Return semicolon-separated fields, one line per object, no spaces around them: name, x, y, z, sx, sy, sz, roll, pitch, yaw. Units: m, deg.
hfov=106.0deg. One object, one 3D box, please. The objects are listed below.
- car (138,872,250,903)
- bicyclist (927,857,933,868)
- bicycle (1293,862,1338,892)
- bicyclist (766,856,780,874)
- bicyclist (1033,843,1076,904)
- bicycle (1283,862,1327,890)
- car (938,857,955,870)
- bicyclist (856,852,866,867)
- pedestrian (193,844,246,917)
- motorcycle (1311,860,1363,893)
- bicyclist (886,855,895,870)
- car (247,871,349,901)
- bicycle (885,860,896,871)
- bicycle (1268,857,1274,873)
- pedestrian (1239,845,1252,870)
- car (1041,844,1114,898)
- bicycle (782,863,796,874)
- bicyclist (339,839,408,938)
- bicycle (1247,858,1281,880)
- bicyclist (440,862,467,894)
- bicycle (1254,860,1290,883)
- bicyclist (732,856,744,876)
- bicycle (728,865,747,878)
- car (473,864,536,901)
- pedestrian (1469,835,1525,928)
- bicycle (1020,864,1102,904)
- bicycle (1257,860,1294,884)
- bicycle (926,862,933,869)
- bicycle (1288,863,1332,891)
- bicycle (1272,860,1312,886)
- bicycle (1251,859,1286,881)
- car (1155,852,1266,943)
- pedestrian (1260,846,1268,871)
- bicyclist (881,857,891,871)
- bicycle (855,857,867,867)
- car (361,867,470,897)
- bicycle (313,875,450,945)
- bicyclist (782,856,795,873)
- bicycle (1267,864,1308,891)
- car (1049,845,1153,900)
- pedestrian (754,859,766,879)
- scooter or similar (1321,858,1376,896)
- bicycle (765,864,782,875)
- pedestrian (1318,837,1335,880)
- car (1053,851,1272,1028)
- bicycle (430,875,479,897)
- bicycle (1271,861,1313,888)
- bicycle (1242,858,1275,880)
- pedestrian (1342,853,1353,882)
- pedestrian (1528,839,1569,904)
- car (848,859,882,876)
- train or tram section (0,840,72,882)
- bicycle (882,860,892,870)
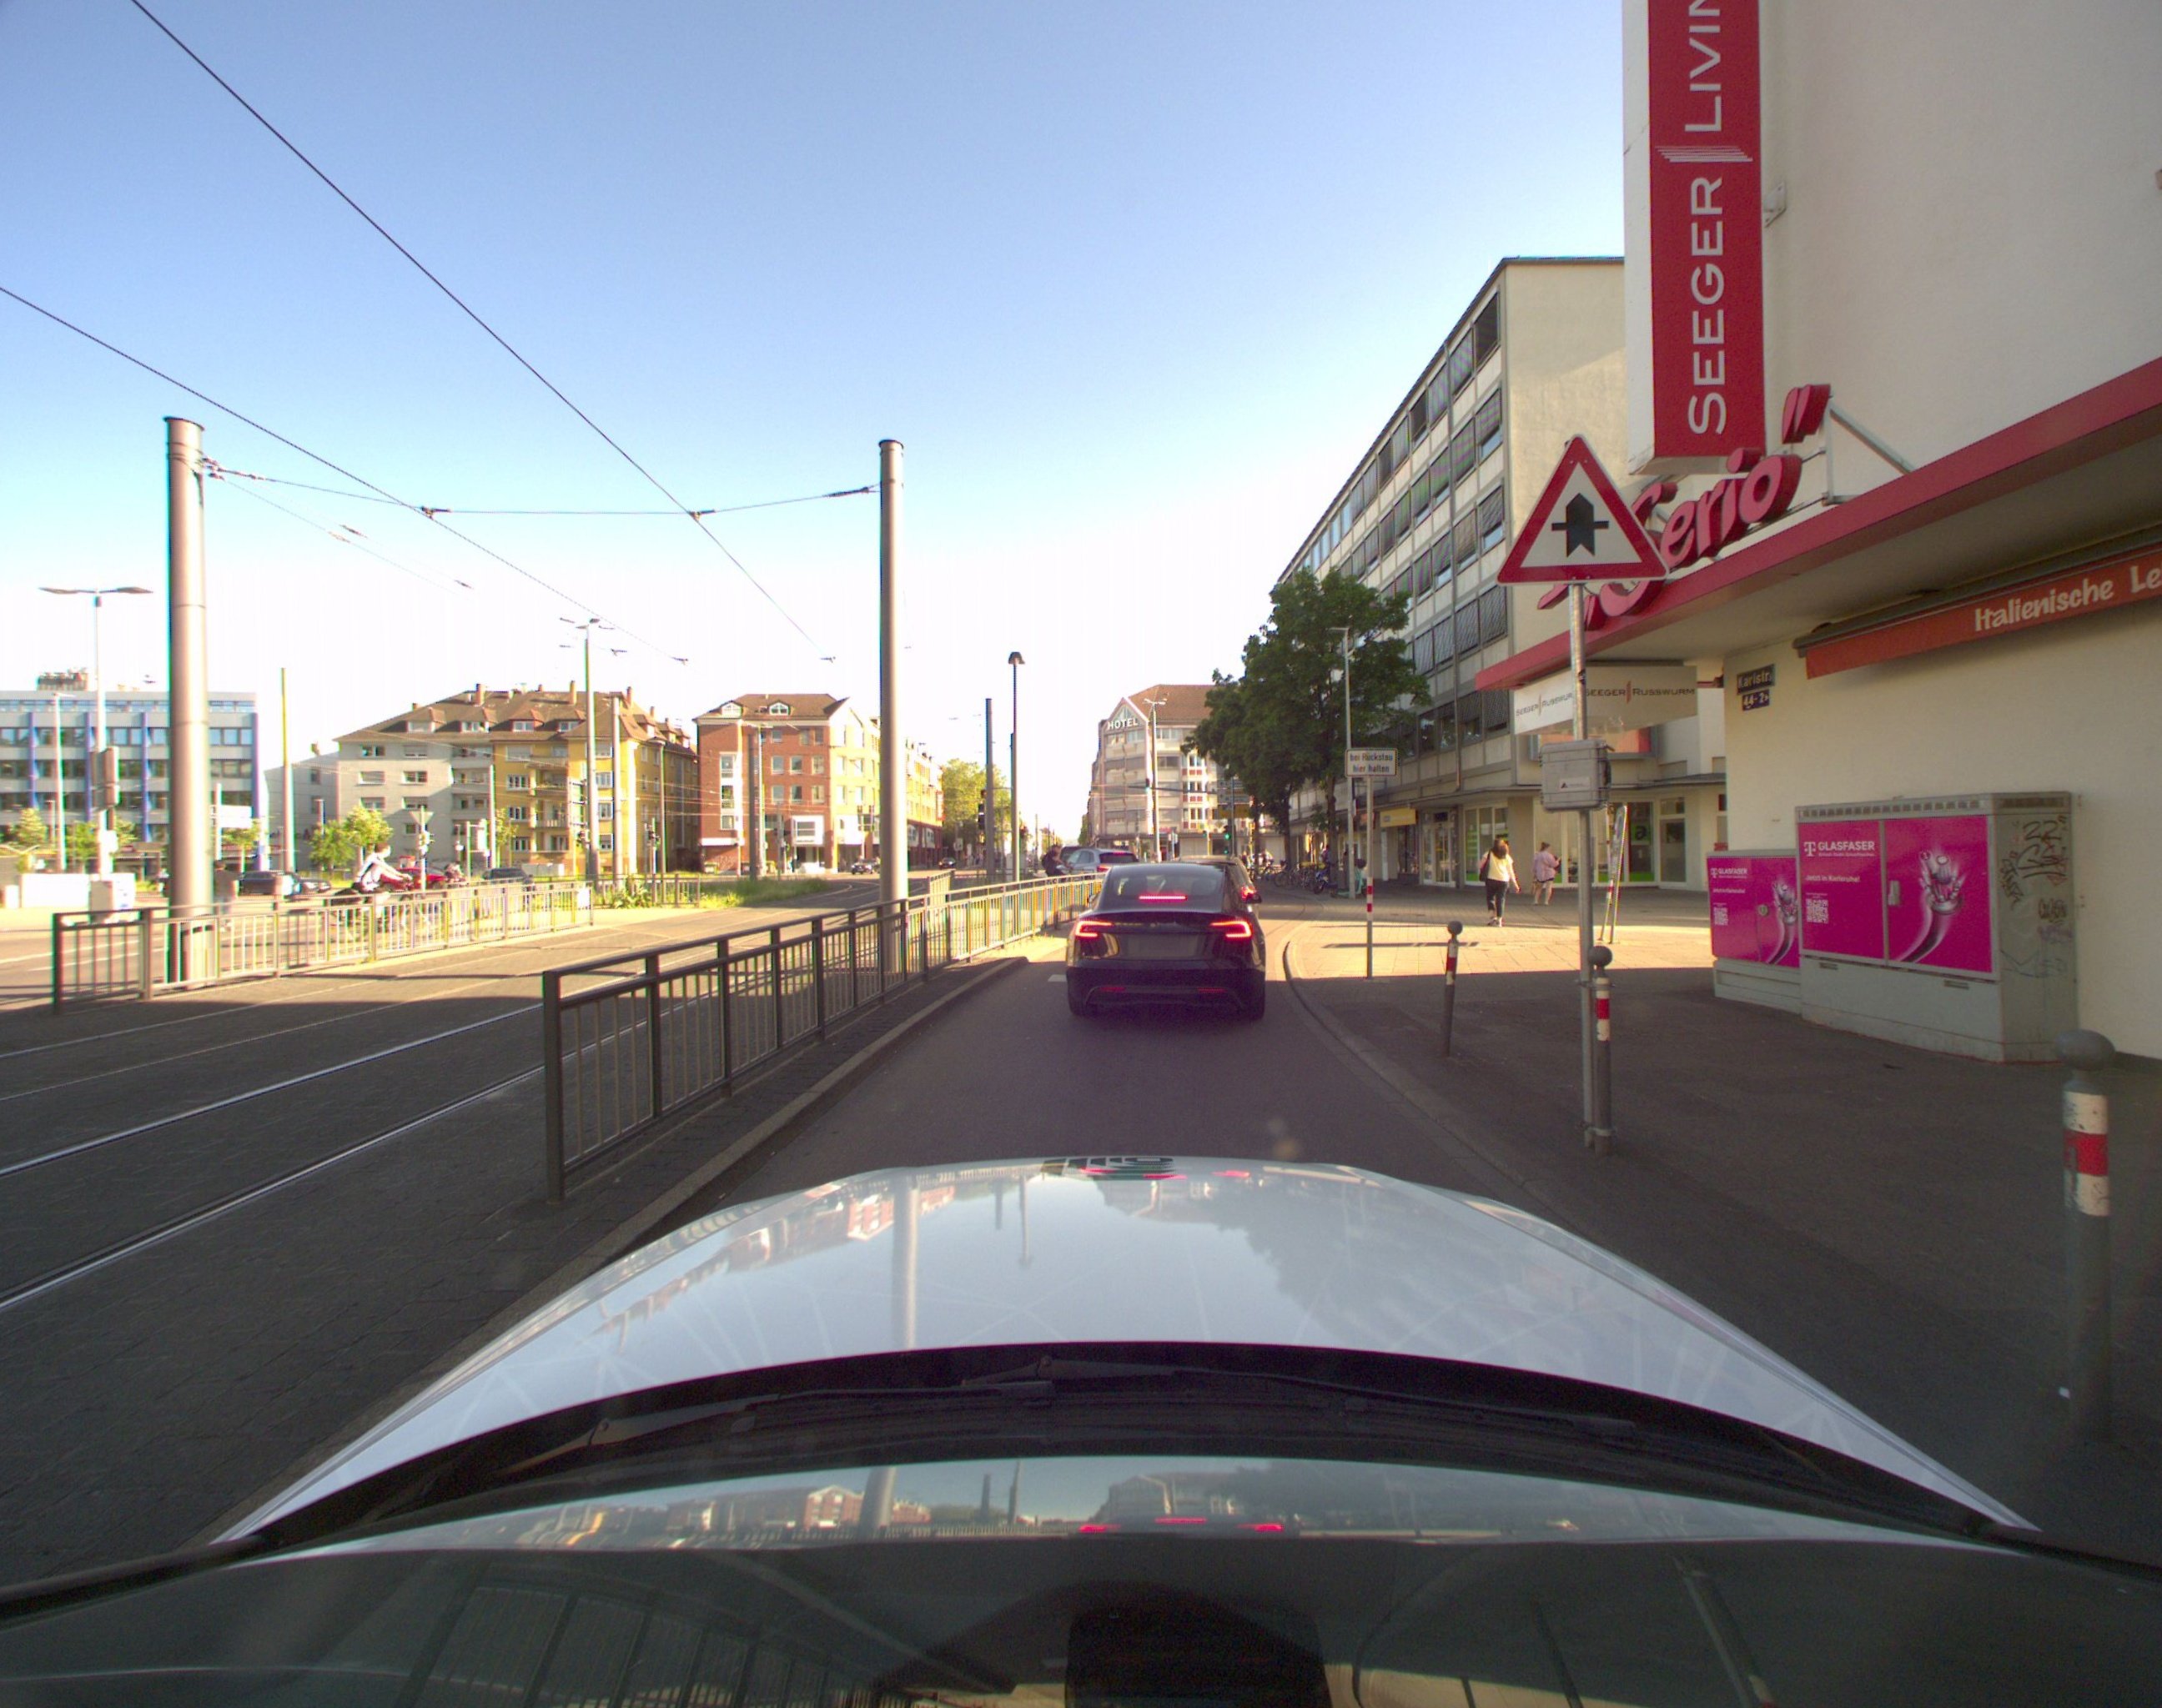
car;-50.619;1.877;46.572;3.952;1.685;1.903;0;-1;-11
bicyclist;-22.037;1.237;118.779;0.780;1.563;0.747;0;-1;3
bicycle;8.900;0.859;30.956;1.649;1.099;0.349;0;-1;-9
bicyclist;-25.893;0.899;68.565;0.895;1.503;0.696;0;-1;1
bicyclist;-0.727;0.525;22.393;0.763;1.628;0.967;0;-1;-37
bicycle;8.736;0.858;31.806;1.649;1.099;0.349;0;-1;-9
car;-17.542;1.234;106.218;1.692;1.731;3.706;0;-1;0
bicyclist;-22.840;0.570;84.408;0.780;1.563;0.747;0;-1;3
pedestrian;-20.312;0.618;19.209;0.585;1.681;0.779;-1;-1;37
motorcycle;9.150;0.786;29.186;1.701;1.173;0.541;0;-1;0
bicyclist;-19.666;0.904;84.168;0.781;1.527;0.590;0;-1;6
car;-45.490;1.838;47.390;3.984;1.672;1.772;0;-1;-8
bicycle;-19.667;1.198;84.122;0.456;1.093;2.205;0;-1;6
bicycle;12.742;0.724;54.681;0.330;1.034;1.260;-1;-1;11
pedestrian;11.126;0.231;55.111;0.697;1.662;0.777;0;-1;1
car;-0.210;0.664;32.781;1.997;2.014;3.980;-1;0;-15
bicycle;-26.854;1.357;74.957;0.402;0.981;1.699;-1;-1;10
bicyclist;-13.039;0.617;15.035;0.754;1.759;0.752;0;-1;-24
bicycle;9.267;0.760;41.315;1.643;1.099;0.350;-1;0;3
bicyclist;-35.472;1.339;46.051;0.901;1.808;0.788;0;-1;-11
bicycle;9.209;0.840;39.255;1.643;1.099;0.350;0;-1;3
bicyclist;-25.998;0.917;61.759;0.631;1.503;0.696;0;-1;1
bicycle;-25.990;1.327;61.657;0.445;0.972;2.247;0;-1;2
car;-25.870;1.238;36.659;1.648;1.526;3.833;0;-1;-25
pedestrian;8.157;0.515;16.015;0.906;1.752;1.044;-1;0;25
bicycle;-0.535;0.816;22.582;2.346;1.053;0.624;0;-1;-36
bicycle;9.145;0.836;38.229;1.643;1.099;0.350;0;-1;3
bicycle;-22.040;1.664;118.652;0.527;1.088;2.227;0;-1;4
bicycle;8.822;0.876;31.379;1.649;1.061;0.349;0;-1;-9
bicycle;9.123;0.817;35.275;1.643;1.099;0.350;0;-1;3
bicycle;9.285;0.797;40.268;1.643;1.099;0.350;0;-1;3
car;2.369;0.696;15.096;1.741;1.454;4.009;-1;0;8
pedestrian;12.395;0.321;55.207;0.522;1.710;0.405;-1;-1;16
bicyclist;-22.139;1.168;92.459;0.780;1.563;0.747;-1;0;3
bicycle;-22.793;0.828;84.430;0.535;1.088;2.227;0;-1;4
car;-39.453;1.653;48.386;4.585;1.700;1.993;0;-1;-10
bicycle;-12.922;1.013;15.099;1.857;1.222;0.482;0;-1;-23
bicyclist;-26.880;0.965;74.951;0.699;1.471;0.975;-1;0;9
bicycle;8.701;0.991;34.298;1.649;1.099;0.349;0;-1;-9
car;0.547;0.571;26.660;1.891;1.662;4.126;0;-1;-23
pedestrian;-29.057;1.342;73.691;0.780;1.820;0.747;0;-1;3
scooter or similar;8.904;0.763;27.116;1.625;1.215;0.649;-1;-1;32
bicycle;-25.864;1.294;68.583;0.522;0.972;2.247;0;-1;2
pedestrian;11.746;0.224;38.959;0.659;2.014;0.580;0;-1;4
car;0.910;0.727;8.812;1.820;1.455;4.007;0;-1;7
bicycle;-35.426;1.819;46.061;2.188;1.214;0.544;0;-1;-11
bicycle;8.622;0.846;33.337;1.649;1.099;0.349;0;-1;-9
bicycle;9.249;0.790;42.410;1.643;1.099;0.350;0;-1;3
pedestrian;12.713;0.636;38.825;0.388;1.343;0.513;0;-1;4
pedestrian;12.435;0.462;21.687;0.881;1.667;0.813;-1;-1;25
car;-19.569;1.211;73.945;1.702;1.527;4.042;0;-1;6
train or tram section;-84.191;0.577;61.254;11.232;3.131;2.795;0;-1;-10
bicycle;-22.079;1.280;92.756;0.527;1.088;2.286;0;-1;4
